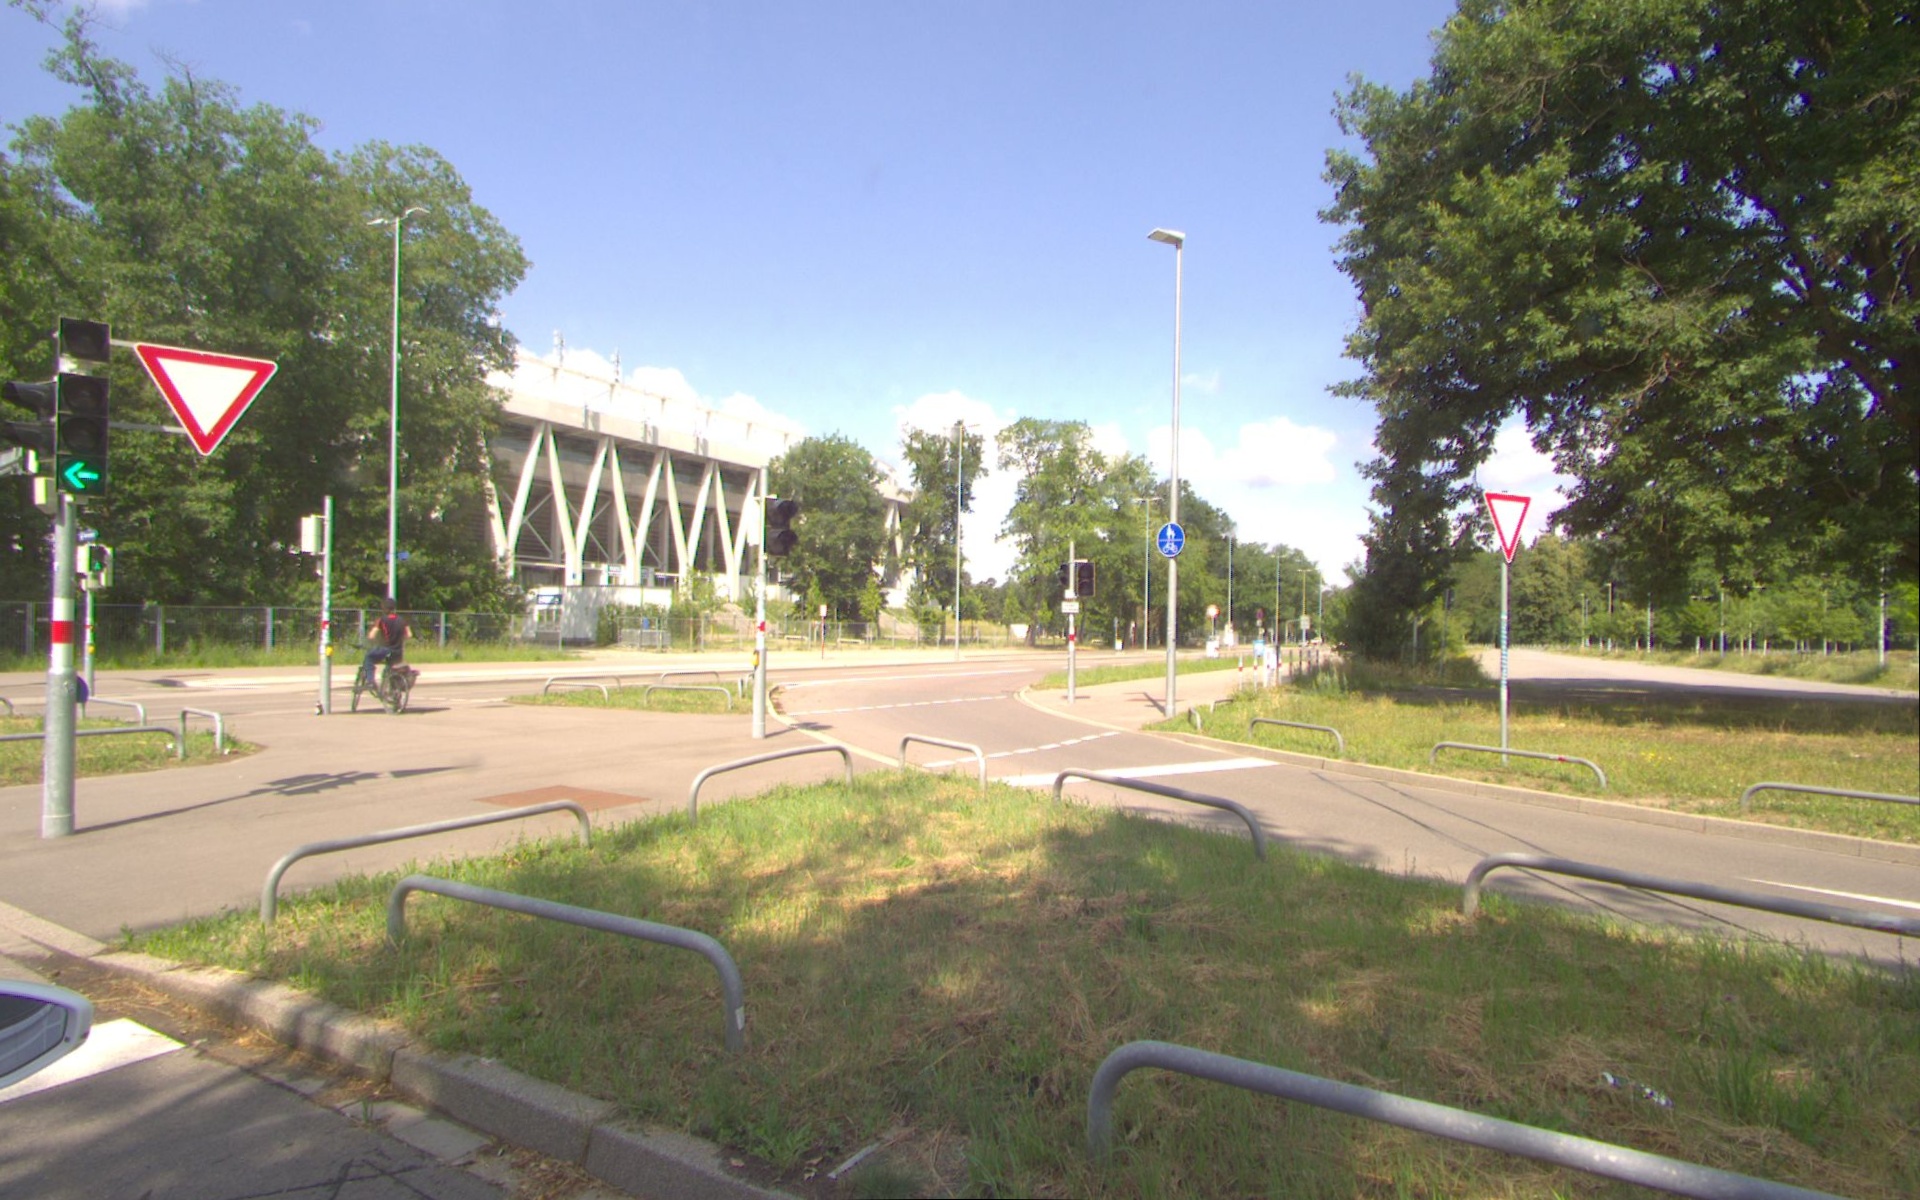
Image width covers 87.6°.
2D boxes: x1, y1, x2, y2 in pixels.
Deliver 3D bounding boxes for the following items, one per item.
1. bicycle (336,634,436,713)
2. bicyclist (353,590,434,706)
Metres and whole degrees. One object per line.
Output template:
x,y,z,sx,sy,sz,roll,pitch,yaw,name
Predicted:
-9.525,1.183,16.588,1.876,1.221,0.876,-2,-2,42,bicycle
-9.275,0.778,16.401,0.967,1.820,0.881,-1,-2,40,bicyclist
